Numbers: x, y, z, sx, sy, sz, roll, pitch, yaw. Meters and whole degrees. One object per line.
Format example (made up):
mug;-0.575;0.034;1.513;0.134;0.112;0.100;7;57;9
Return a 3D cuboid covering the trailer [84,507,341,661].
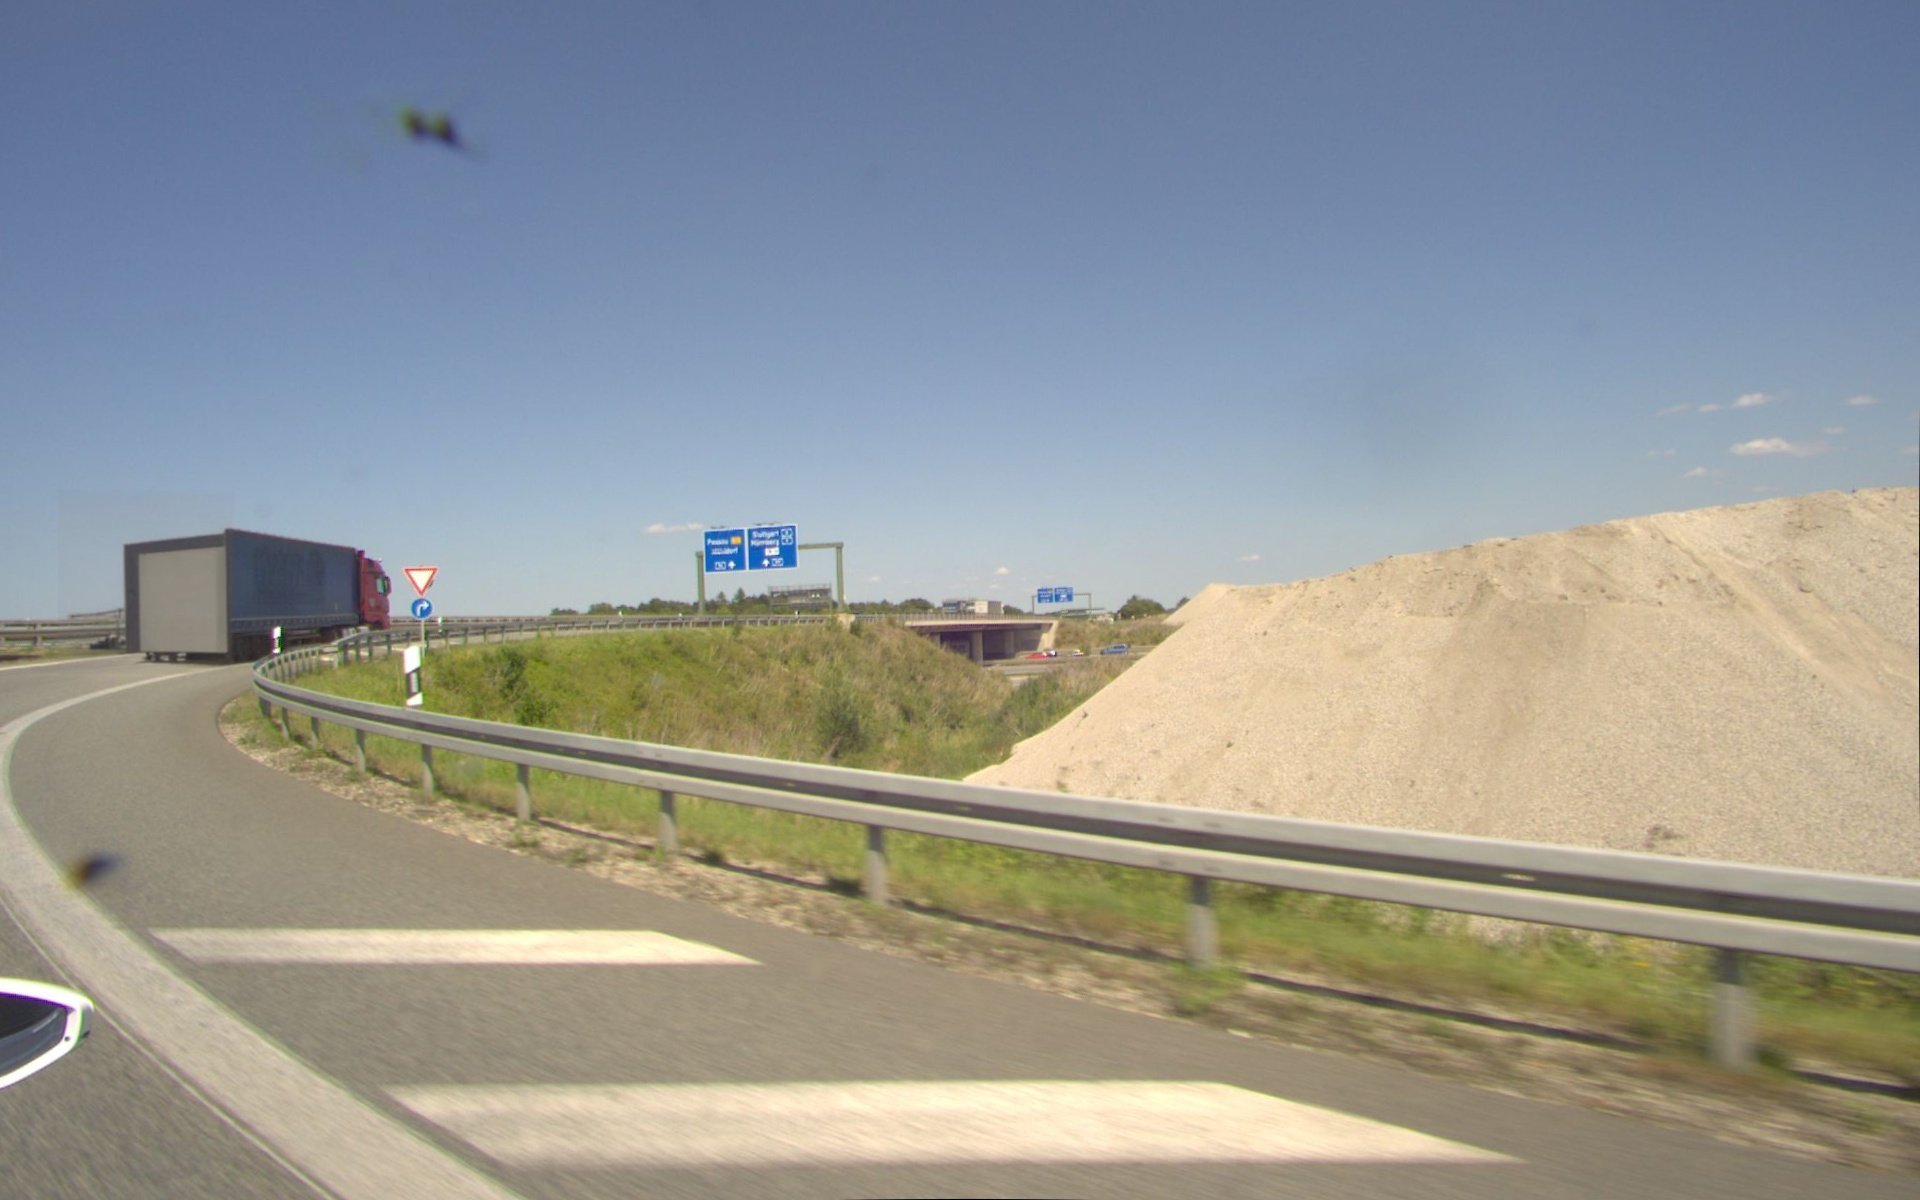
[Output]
trailer;-23.910;-0.218;33.031;2.870;4.197;11.245;0;-2;-16

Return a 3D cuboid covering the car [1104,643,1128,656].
car;27.480;8.739;176.775;3.922;2.037;2.003;0;-5;1

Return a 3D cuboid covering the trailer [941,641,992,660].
trailer;1.211;8.986;178.372;8.984;3.167;2.644;0;-1;3

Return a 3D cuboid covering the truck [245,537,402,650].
truck;-25.646;-0.089;40.797;2.867;4.198;6.925;0;-2;-9

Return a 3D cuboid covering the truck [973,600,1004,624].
truck;5.624;2.368;192.695;3.484;4.198;11.251;1;-1;14

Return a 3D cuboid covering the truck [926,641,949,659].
truck;-4.077;8.986;178.620;3.922;3.138;2.630;0;-1;3
